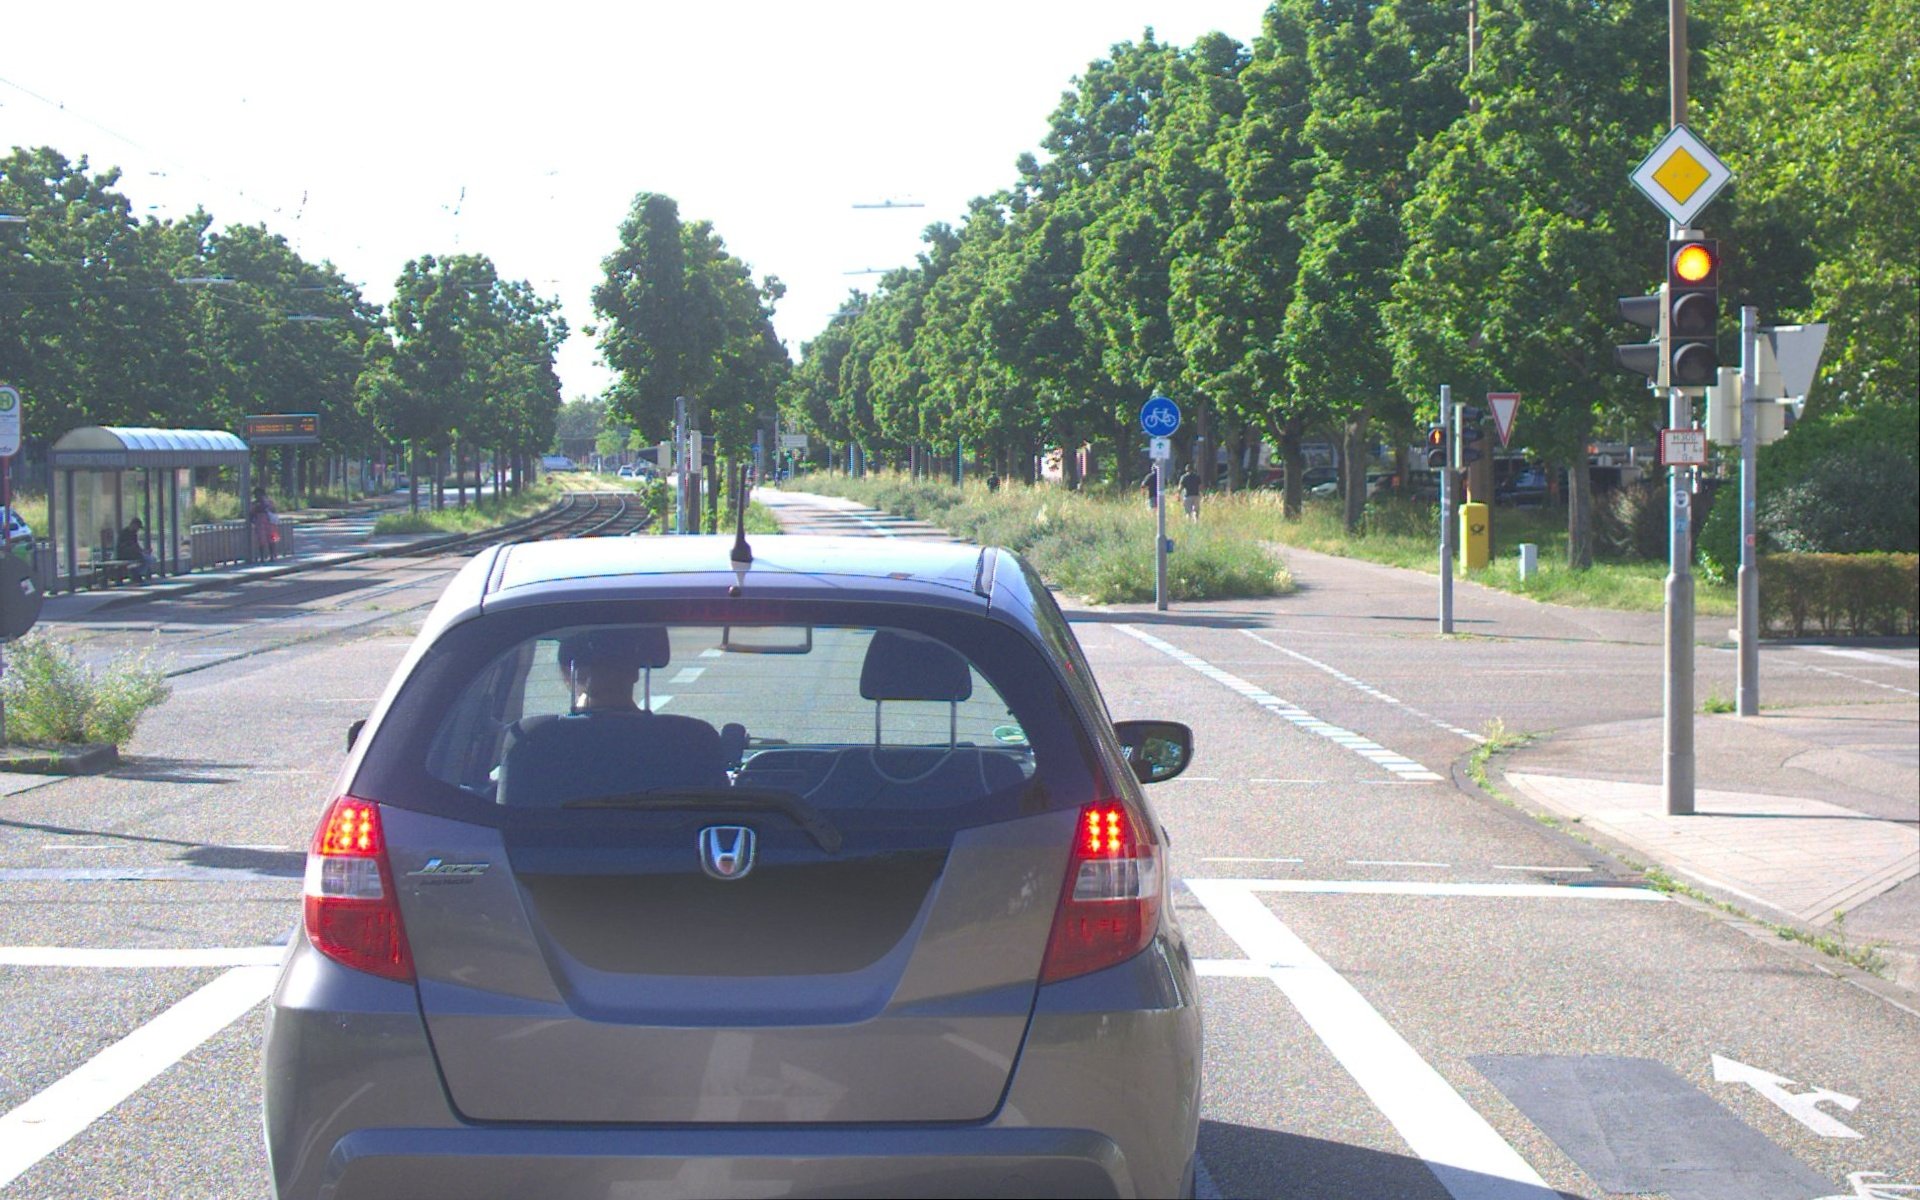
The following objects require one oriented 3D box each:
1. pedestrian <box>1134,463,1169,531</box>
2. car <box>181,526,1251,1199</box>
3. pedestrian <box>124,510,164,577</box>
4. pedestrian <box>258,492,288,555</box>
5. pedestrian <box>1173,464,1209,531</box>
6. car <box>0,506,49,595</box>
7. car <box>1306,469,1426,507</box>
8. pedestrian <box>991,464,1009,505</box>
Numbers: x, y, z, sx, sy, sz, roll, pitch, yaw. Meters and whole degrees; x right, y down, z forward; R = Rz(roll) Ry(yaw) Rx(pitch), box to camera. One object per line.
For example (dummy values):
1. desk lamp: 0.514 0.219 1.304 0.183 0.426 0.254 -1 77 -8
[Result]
1. pedestrian: 5.386 -2.902 96.677 0.882 1.877 0.875 -1 2 -4
2. car: -0.412 0.617 7.347 1.701 1.518 3.710 0 1 -1
3. pedestrian: -15.548 -1.082 65.521 0.563 1.252 0.581 -3 1 -1
4. pedestrian: -16.001 -1.775 80.074 0.544 1.442 0.559 -1 1 -1
5. pedestrian: 6.486 -2.891 96.707 0.882 1.877 0.875 -1 2 -4
6. car: -21.334 -1.061 74.395 2.093 1.804 4.794 -2 3 -3
7. car: 17.054 -4.699 144.517 4.630 1.550 2.001 -1 2 -6
8. pedestrian: 1.654 -4.792 142.376 0.725 1.685 0.821 0 0 -3
